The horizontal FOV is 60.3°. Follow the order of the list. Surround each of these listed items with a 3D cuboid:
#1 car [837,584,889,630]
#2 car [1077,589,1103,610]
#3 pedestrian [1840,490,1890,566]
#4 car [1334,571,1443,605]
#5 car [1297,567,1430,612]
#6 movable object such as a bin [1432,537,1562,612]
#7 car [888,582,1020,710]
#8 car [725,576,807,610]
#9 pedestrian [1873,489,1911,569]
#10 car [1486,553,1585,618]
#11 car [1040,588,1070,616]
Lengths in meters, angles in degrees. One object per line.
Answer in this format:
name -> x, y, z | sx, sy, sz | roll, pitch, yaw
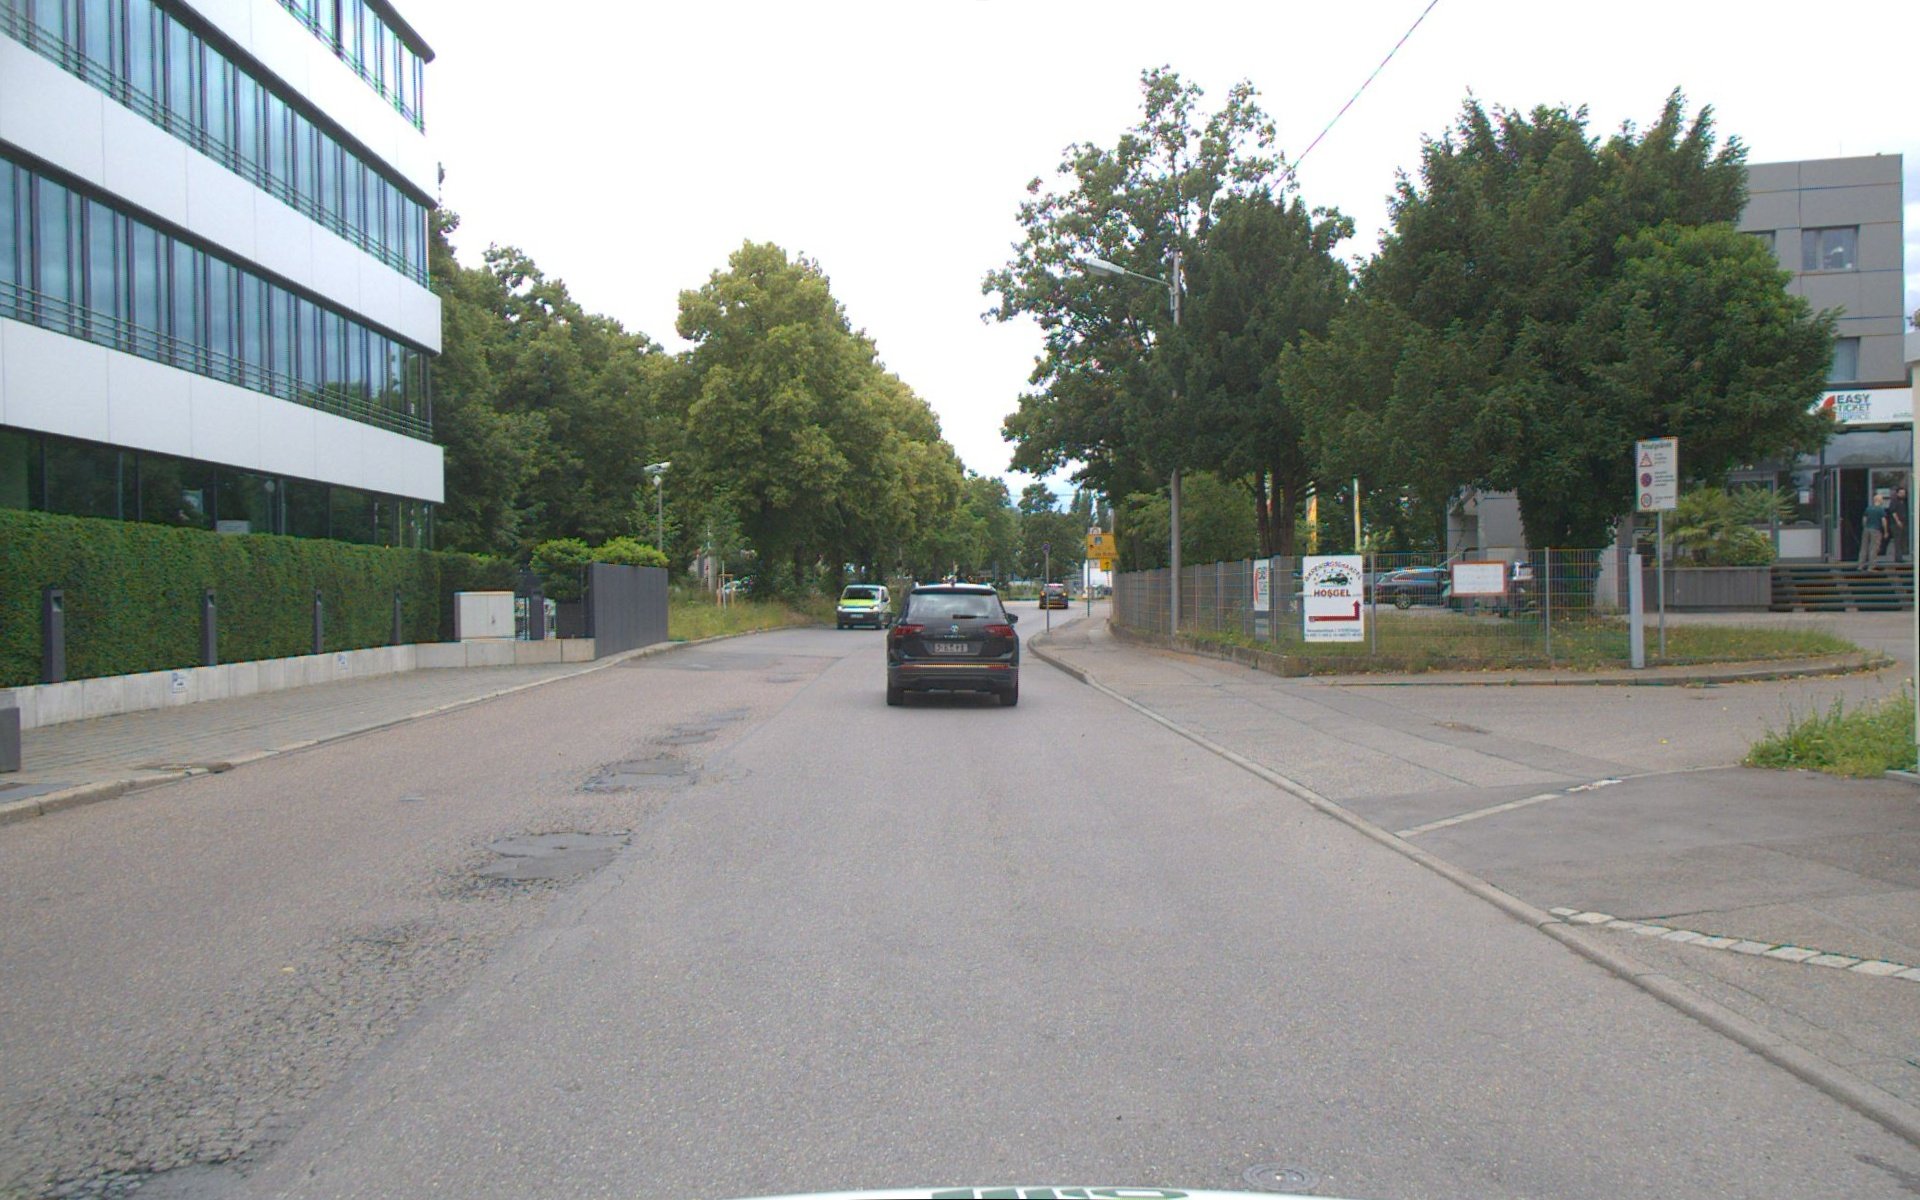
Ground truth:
car -> -3.882, 0.281, 66.846 | 1.770, 1.795, 4.206 | 0, 0, 1
car -> 11.301, -0.035, 143.241 | 1.951, 1.817, 4.003 | 0, 0, 9
pedestrian -> 21.856, -1.736, 39.937 | 0.903, 1.783, 0.793 | -2, 0, 39
car -> 21.082, -0.577, 81.417 | 4.762, 1.561, 2.016 | -1, 1, 35
car -> 15.350, -0.393, 63.057 | 1.983, 1.499, 4.620 | -2, 0, -42
movable object such as a bin -> 18.167, -0.858, 56.118 | 3.902, 2.345, 1.954 | -2, 0, 11
car -> -0.046, 0.601, 23.113 | 1.703, 1.646, 3.641 | 0, 0, 1
car -> -14.892, -0.564, 127.504 | 5.945, 2.429, 2.395 | -1, 1, 1
pedestrian -> 23.142, -1.755, 41.076 | 0.730, 1.918, 0.693 | -2, 0, 33
car -> 15.984, -0.444, 46.149 | 1.951, 1.594, 4.446 | -4, 1, 12
car -> 5.743, 0.091, 100.289 | 1.624, 1.601, 3.829 | -2, 0, 2
